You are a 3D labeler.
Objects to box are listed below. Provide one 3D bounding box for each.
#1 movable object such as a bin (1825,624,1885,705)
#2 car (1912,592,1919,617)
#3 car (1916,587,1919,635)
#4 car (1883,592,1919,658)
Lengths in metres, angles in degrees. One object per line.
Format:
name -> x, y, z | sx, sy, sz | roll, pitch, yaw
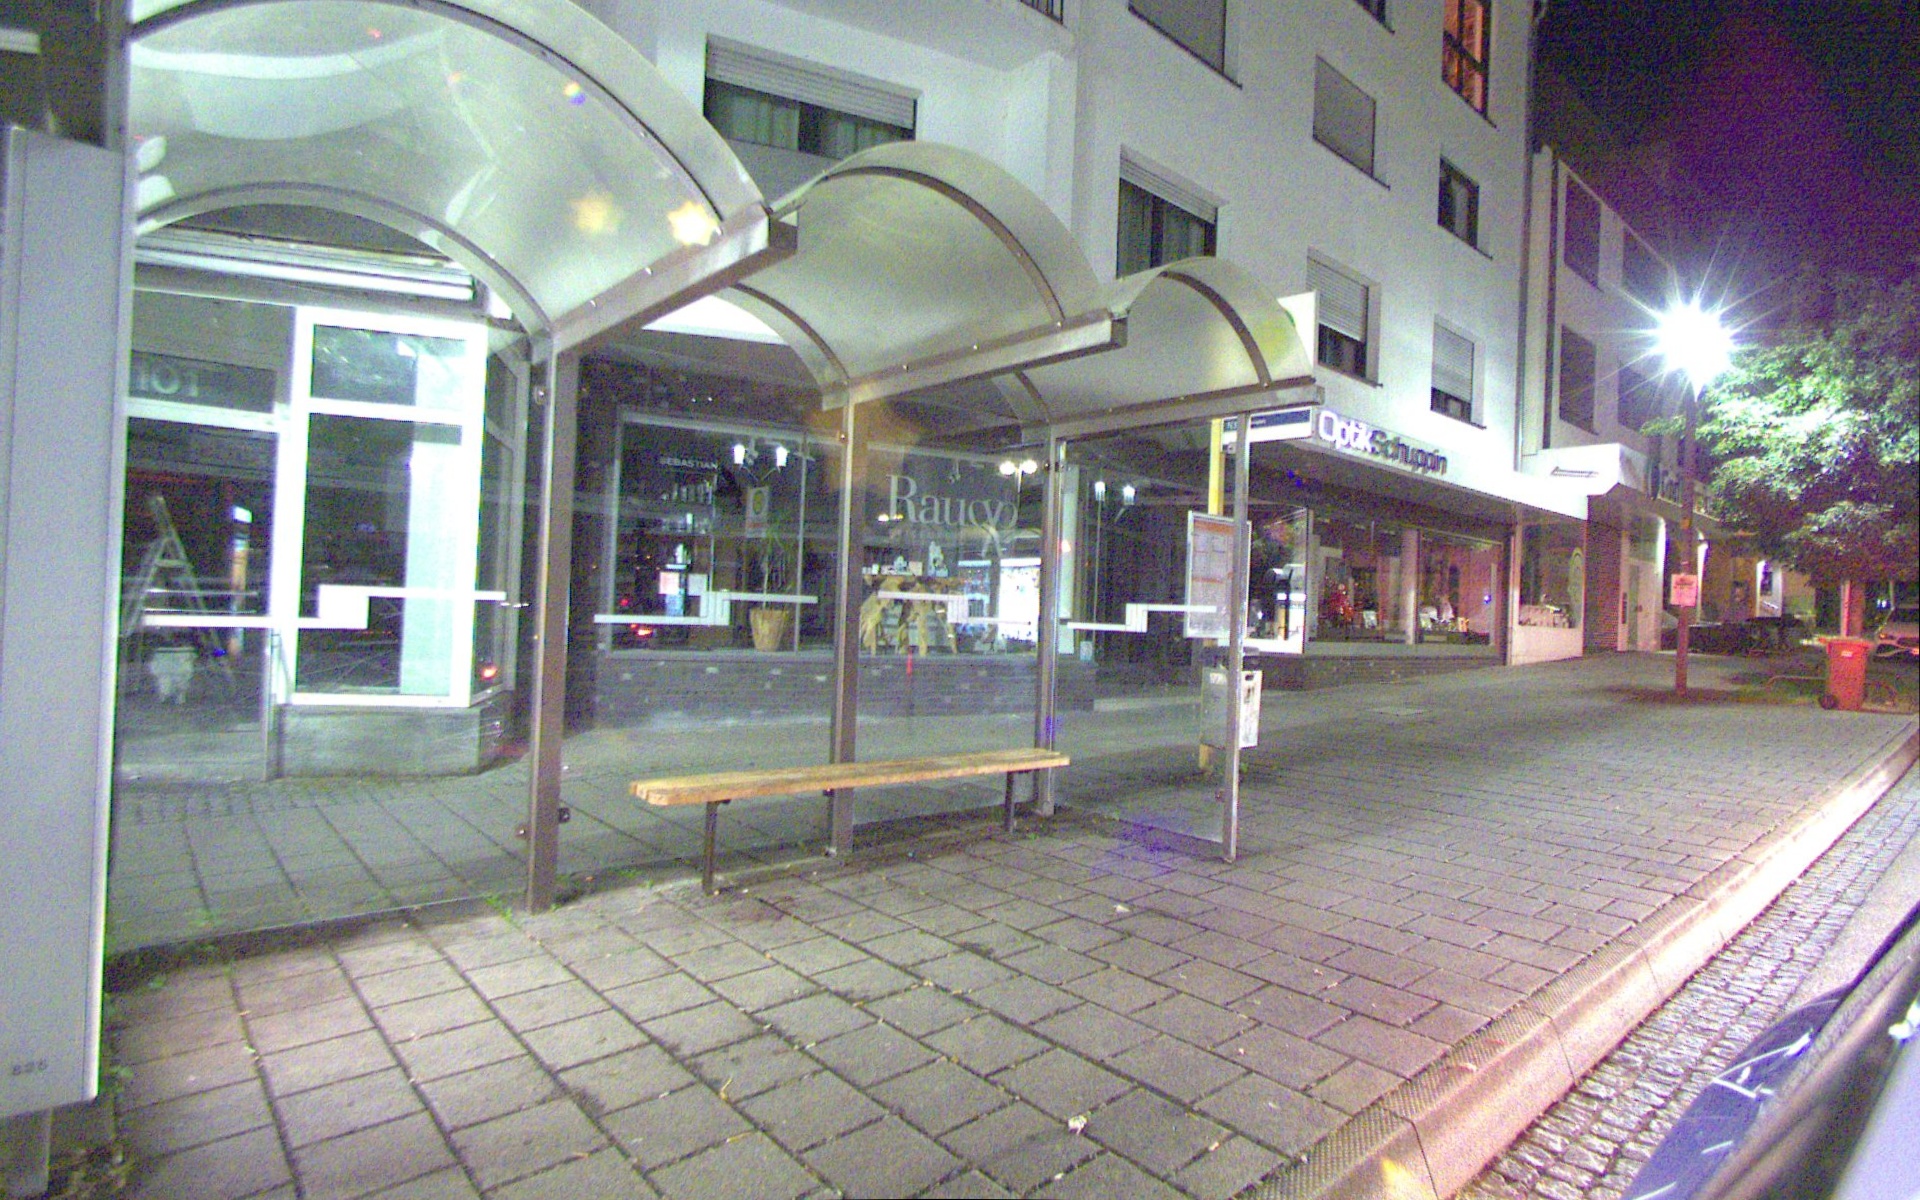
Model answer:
movable object such as a bin -> 11.317, 0.802, 12.816 | 0.523, 0.949, 0.621 | 0, 1, 38
car -> 59.722, 0.260, 62.266 | 1.638, 1.485, 3.717 | -1, 0, 43
car -> 35.244, 0.412, 35.922 | 1.788, 1.661, 4.309 | 4, 3, 44
car -> 23.749, 0.584, 24.465 | 4.519, 1.459, 1.859 | -1, 3, -45
